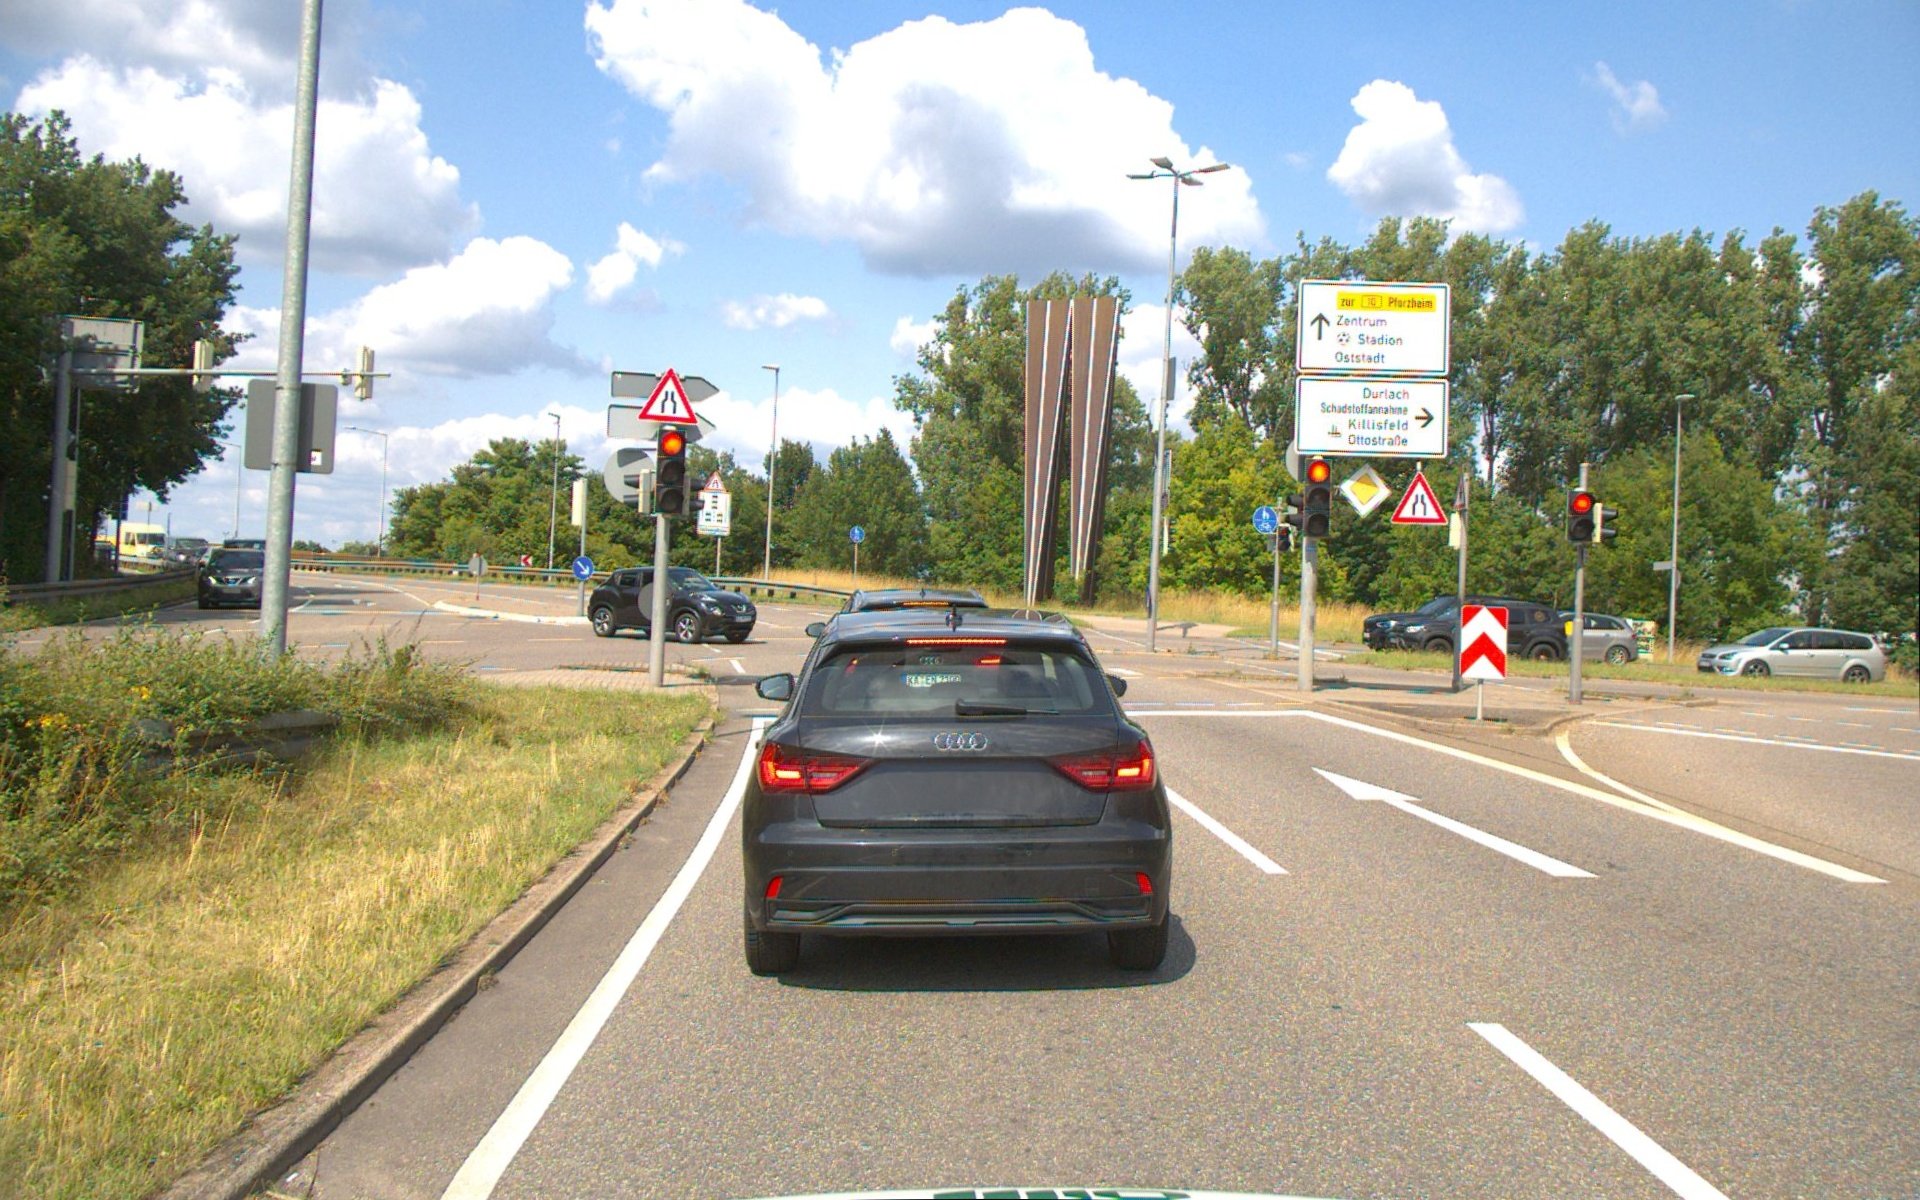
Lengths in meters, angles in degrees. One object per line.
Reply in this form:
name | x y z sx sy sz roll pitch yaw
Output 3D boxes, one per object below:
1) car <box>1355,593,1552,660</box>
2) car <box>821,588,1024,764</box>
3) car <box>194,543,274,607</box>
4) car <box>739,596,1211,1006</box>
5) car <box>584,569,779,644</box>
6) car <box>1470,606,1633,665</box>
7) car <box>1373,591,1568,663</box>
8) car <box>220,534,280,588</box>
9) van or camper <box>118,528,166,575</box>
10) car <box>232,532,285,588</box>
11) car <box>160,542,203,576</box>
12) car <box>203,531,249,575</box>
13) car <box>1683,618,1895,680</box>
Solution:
car | 13.184 0.695 44.339 4.750 1.572 1.736 2 0 -2
car | -0.468 0.616 15.712 1.692 1.448 3.841 0 1 -5
car | -19.962 -0.651 45.610 1.813 1.646 3.974 1 -1 -21
car | 0.024 0.714 7.931 1.691 1.429 3.999 0 1 -1
car | -6.075 0.123 35.978 3.889 1.443 1.947 3 0 34
car | 17.289 1.028 48.457 4.023 1.522 1.999 2 0 -2
car | 12.446 0.638 40.471 4.182 1.572 1.736 2 0 -2
car | -25.469 -1.393 59.443 1.817 1.833 4.298 2 0 -22
van or camper | -50.539 -2.964 102.143 1.974 2.730 6.788 1 0 -32
car | -28.330 -1.610 66.739 1.819 2.137 4.293 2 0 -25
car | -42.156 -2.237 89.556 1.823 1.735 4.286 2 0 -29
car | -35.671 -2.257 80.329 1.821 2.013 4.289 2 0 -27
car | 20.447 1.196 40.881 4.384 1.343 1.735 2 0 -5
